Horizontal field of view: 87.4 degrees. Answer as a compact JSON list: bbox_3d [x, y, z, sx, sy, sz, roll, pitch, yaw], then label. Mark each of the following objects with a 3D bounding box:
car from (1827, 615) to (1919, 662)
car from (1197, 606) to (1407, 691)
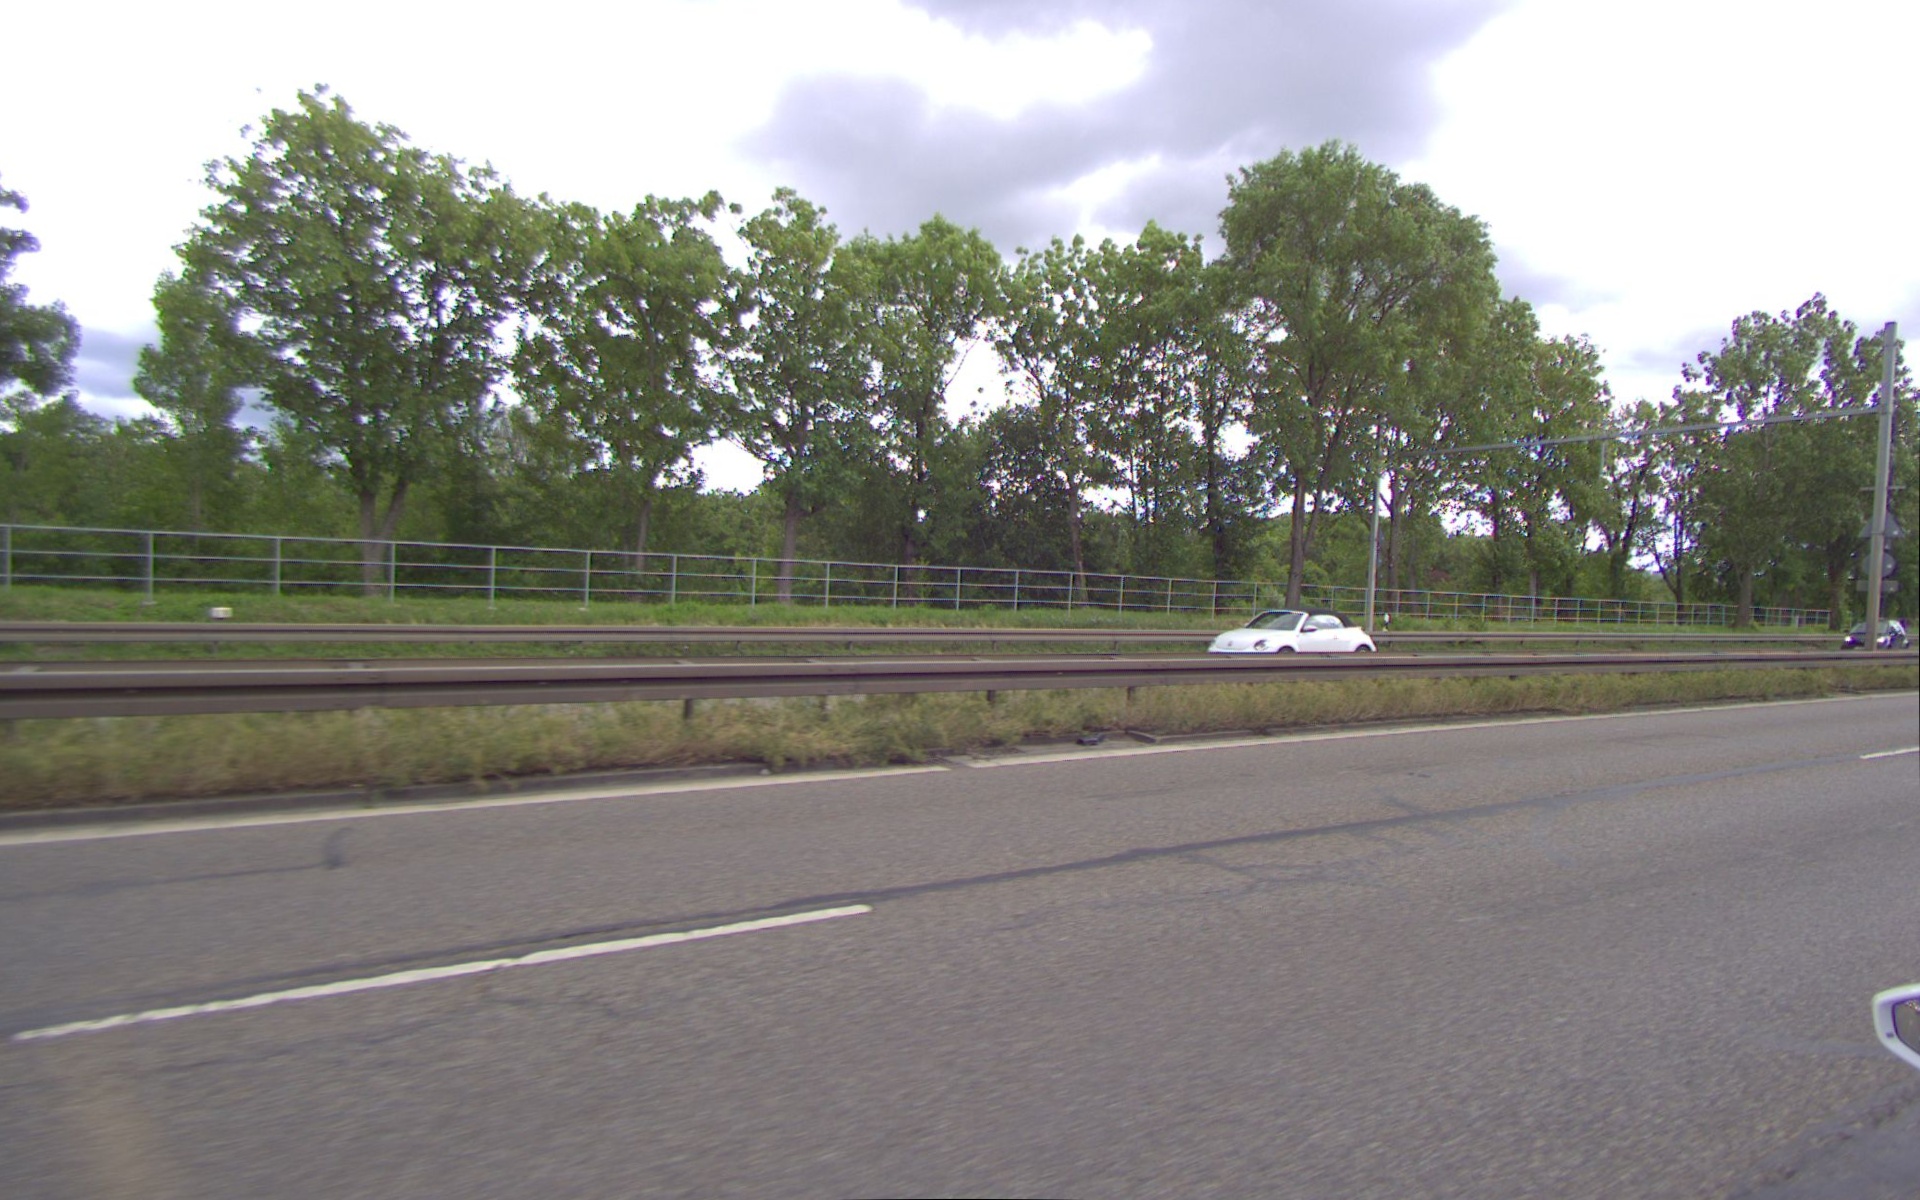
[{"bbox_3d":[37.474,1.563,41.220,3.698,1.798,1.718,2,0,-30],"label":"car"},{"bbox_3d":[7.652,1.028,22.342,4.665,1.697,1.857,1,0,-31],"label":"car"}]
